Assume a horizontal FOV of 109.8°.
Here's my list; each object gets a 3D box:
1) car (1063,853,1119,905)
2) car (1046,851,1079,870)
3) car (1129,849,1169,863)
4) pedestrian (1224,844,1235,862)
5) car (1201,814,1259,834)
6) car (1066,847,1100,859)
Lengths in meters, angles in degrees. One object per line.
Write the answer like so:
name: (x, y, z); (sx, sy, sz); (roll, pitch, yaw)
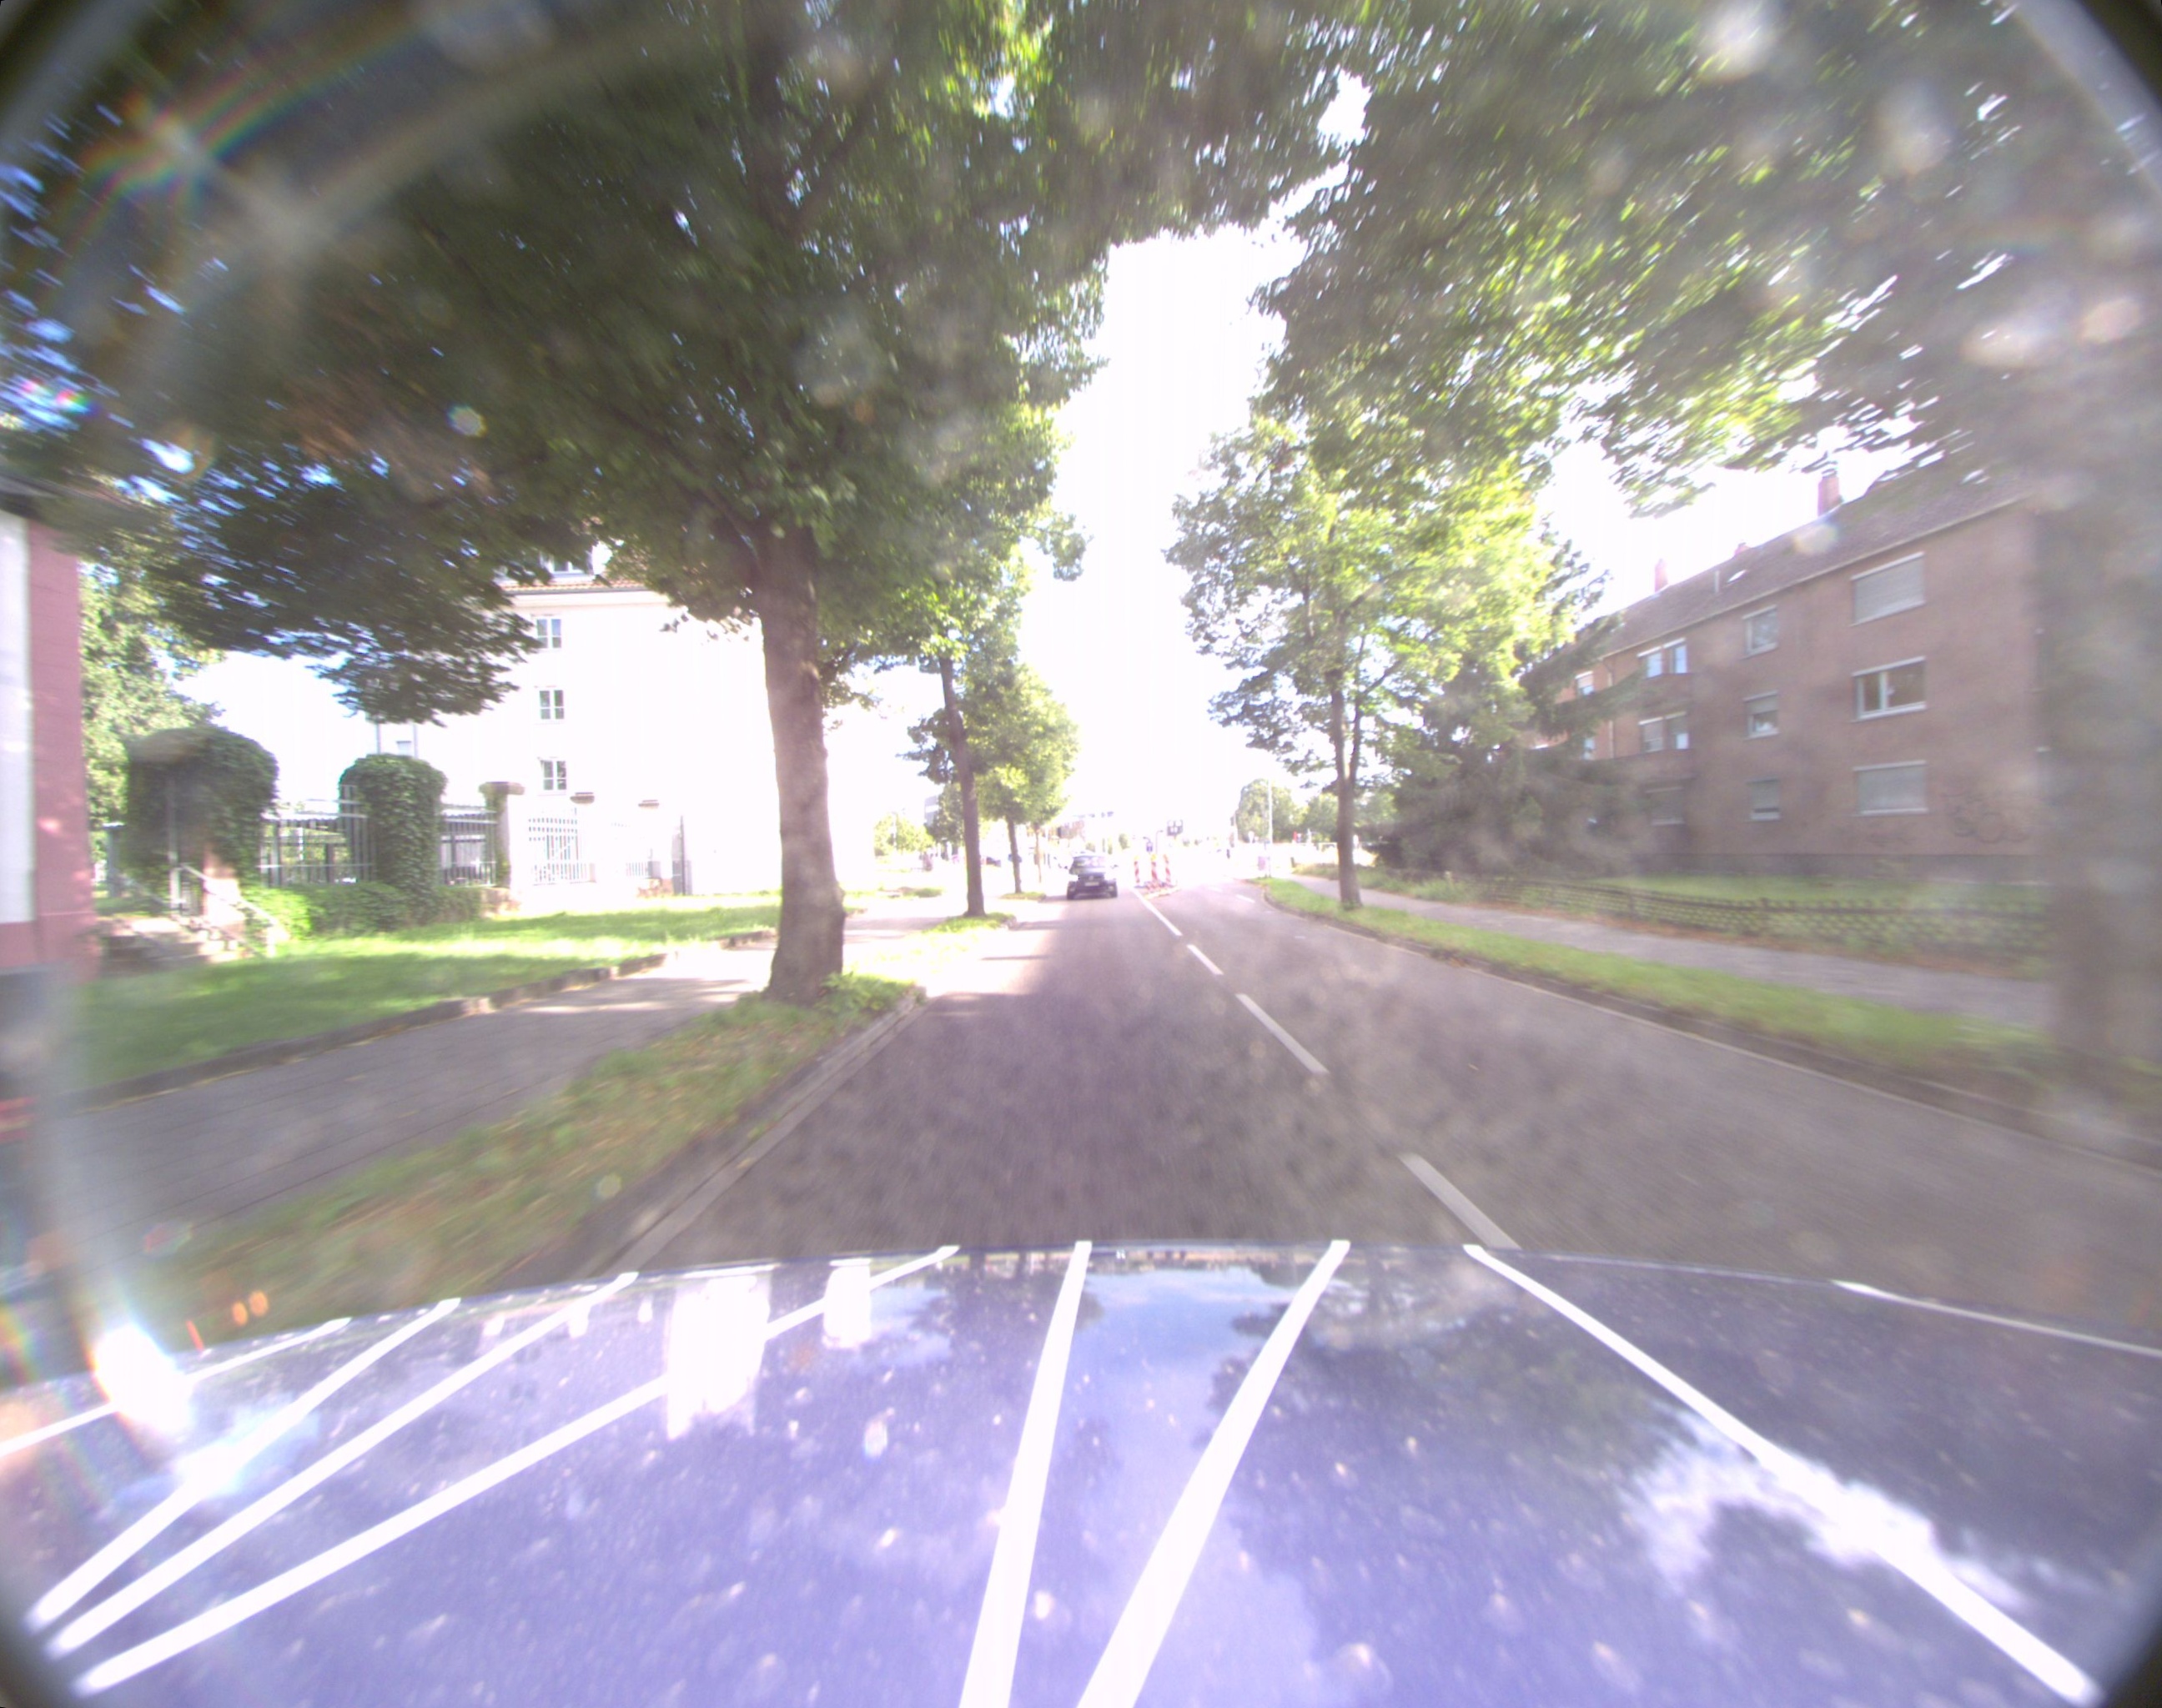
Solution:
car: (0.439, 0.849, 27.717); (1.821, 1.648, 4.243); (-3, 0, 3)
car: (-2.043, 0.688, 82.530); (1.841, 1.856, 5.394); (-3, 1, -21)
car: (9.195, 0.268, 103.202); (4.869, 1.515, 2.304); (-3, 1, -8)
pedestrian: (15.226, -0.145, 77.951); (0.710, 1.813, 0.744); (-3, 1, -19)
car: (17.079, -3.430, 87.470); (2.482, 1.856, 6.235); (-4, 2, -42)
car: (0.298, -0.120, 103.392); (4.257, 1.477, 2.001); (-2, 1, 10)
